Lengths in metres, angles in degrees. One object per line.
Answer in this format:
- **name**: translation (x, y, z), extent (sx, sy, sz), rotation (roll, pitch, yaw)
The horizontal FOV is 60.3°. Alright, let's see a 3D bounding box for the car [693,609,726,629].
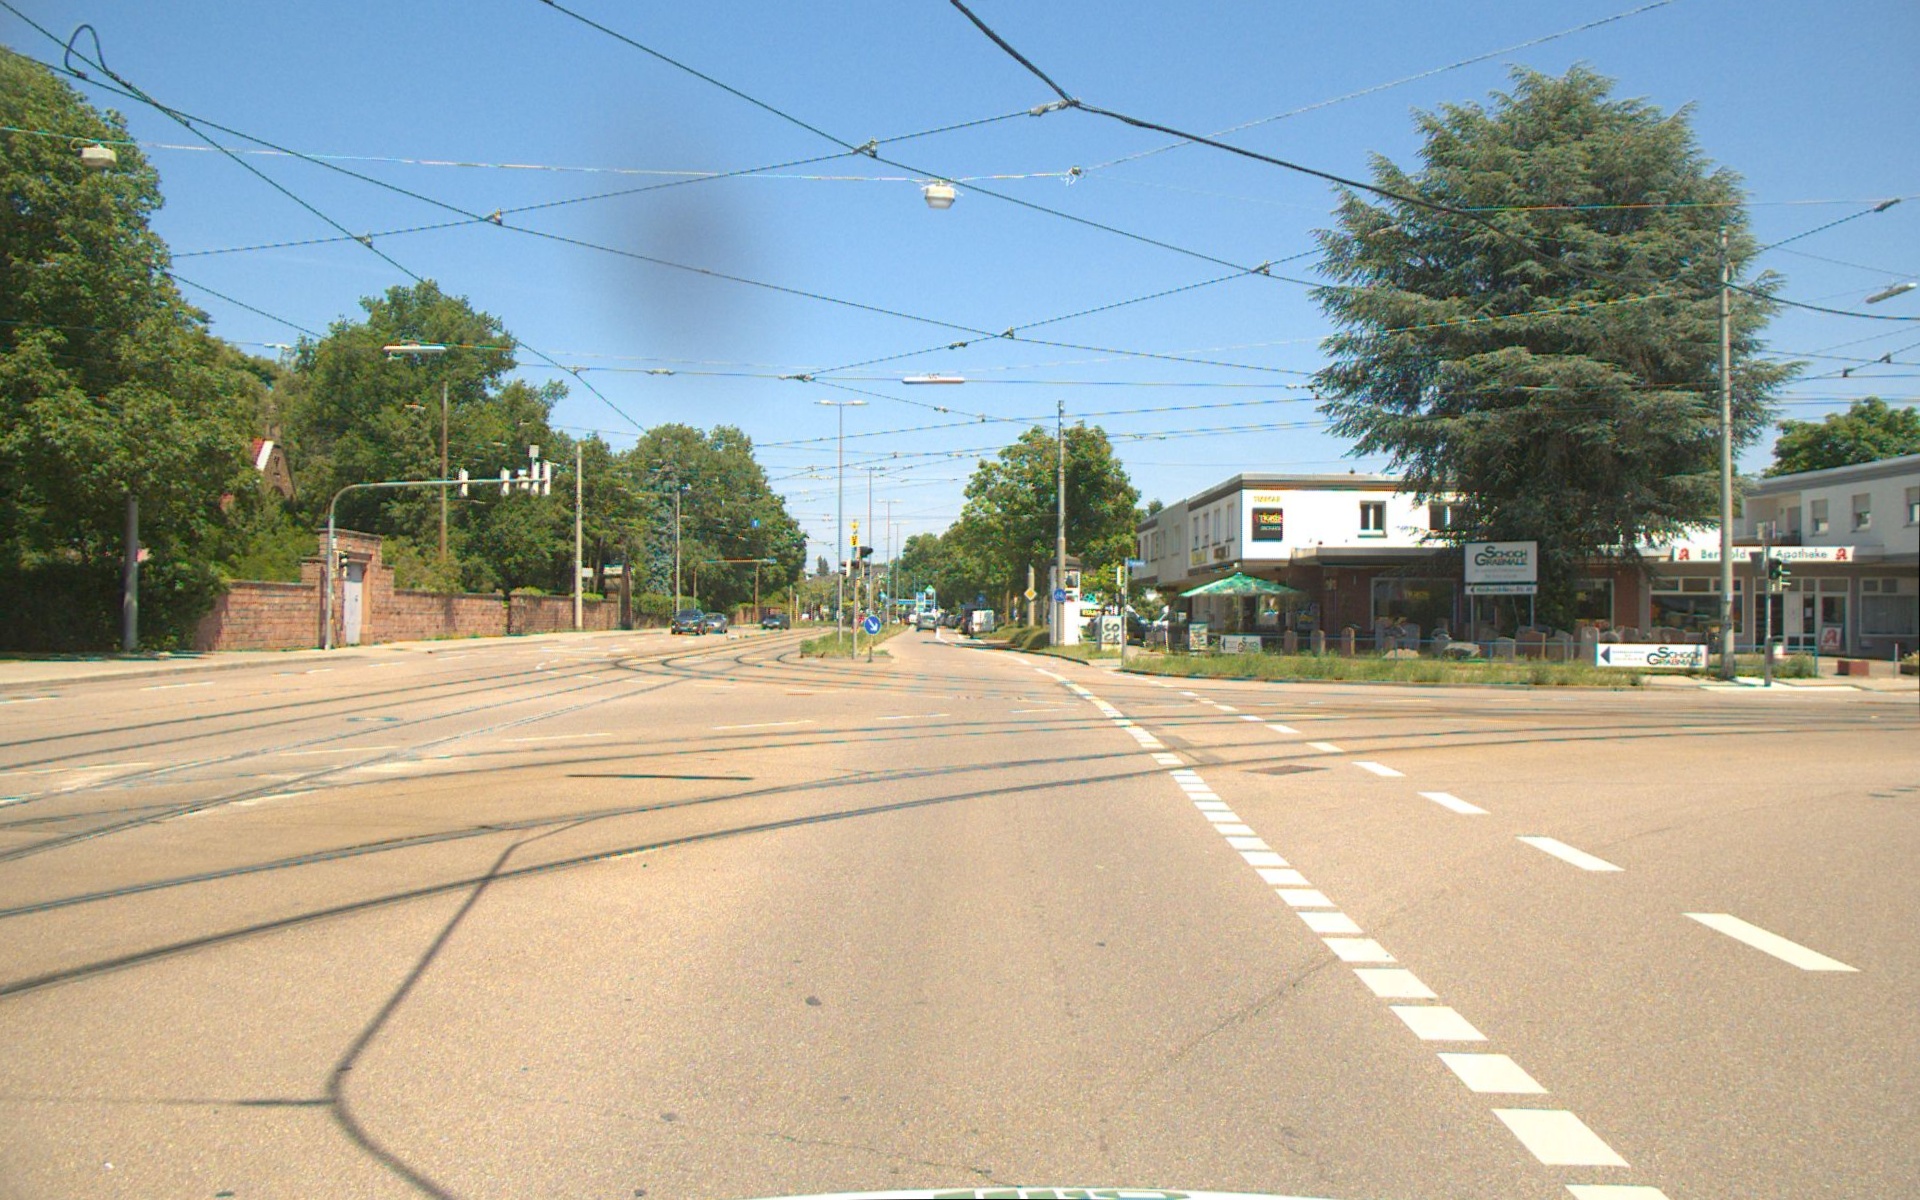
- **car**: translation (-18.104, 1.382, 119.751), extent (1.607, 1.446, 4.168), rotation (0, -1, 2)

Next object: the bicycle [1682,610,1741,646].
- **bicycle**: translation (26.998, 0.999, 59.437), extent (1.831, 1.213, 0.599), rotation (2, -2, 10)

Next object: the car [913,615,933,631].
- **car**: translation (-3.282, 2.051, 145.676), extent (1.604, 1.375, 3.839), rotation (1, -1, -3)

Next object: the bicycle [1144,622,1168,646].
- **bicycle**: translation (8.688, 1.504, 73.368), extent (1.012, 1.032, 2.639), rotation (0, -1, 6)

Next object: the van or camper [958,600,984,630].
- **van or camper**: translation (0.932, 1.252, 141.538), extent (1.954, 2.507, 3.997), rotation (1, -1, -3)

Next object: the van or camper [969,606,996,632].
- **van or camper**: translation (1.584, 1.357, 119.068), extent (1.883, 1.803, 3.999), rotation (0, -1, 0)

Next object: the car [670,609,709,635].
- **car**: translation (-17.690, 1.443, 108.295), extent (1.782, 1.631, 4.520), rotation (0, -1, 0)

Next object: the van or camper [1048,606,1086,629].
- **van or camper**: translation (10.161, 1.665, 157.165), extent (3.486, 2.183, 1.602), rotation (0, -1, -3)

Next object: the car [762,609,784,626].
- **car**: translation (-16.891, 1.594, 149.345), extent (1.608, 1.424, 4.114), rotation (2, -1, -2)

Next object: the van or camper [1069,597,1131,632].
- **van or camper**: translation (11.197, 1.139, 132.375), extent (4.661, 2.718, 2.134), rotation (1, -1, -3)

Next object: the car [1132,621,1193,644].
- **car**: translation (12.680, 2.046, 103.530), extent (3.538, 1.375, 1.488), rotation (1, -1, -7)
